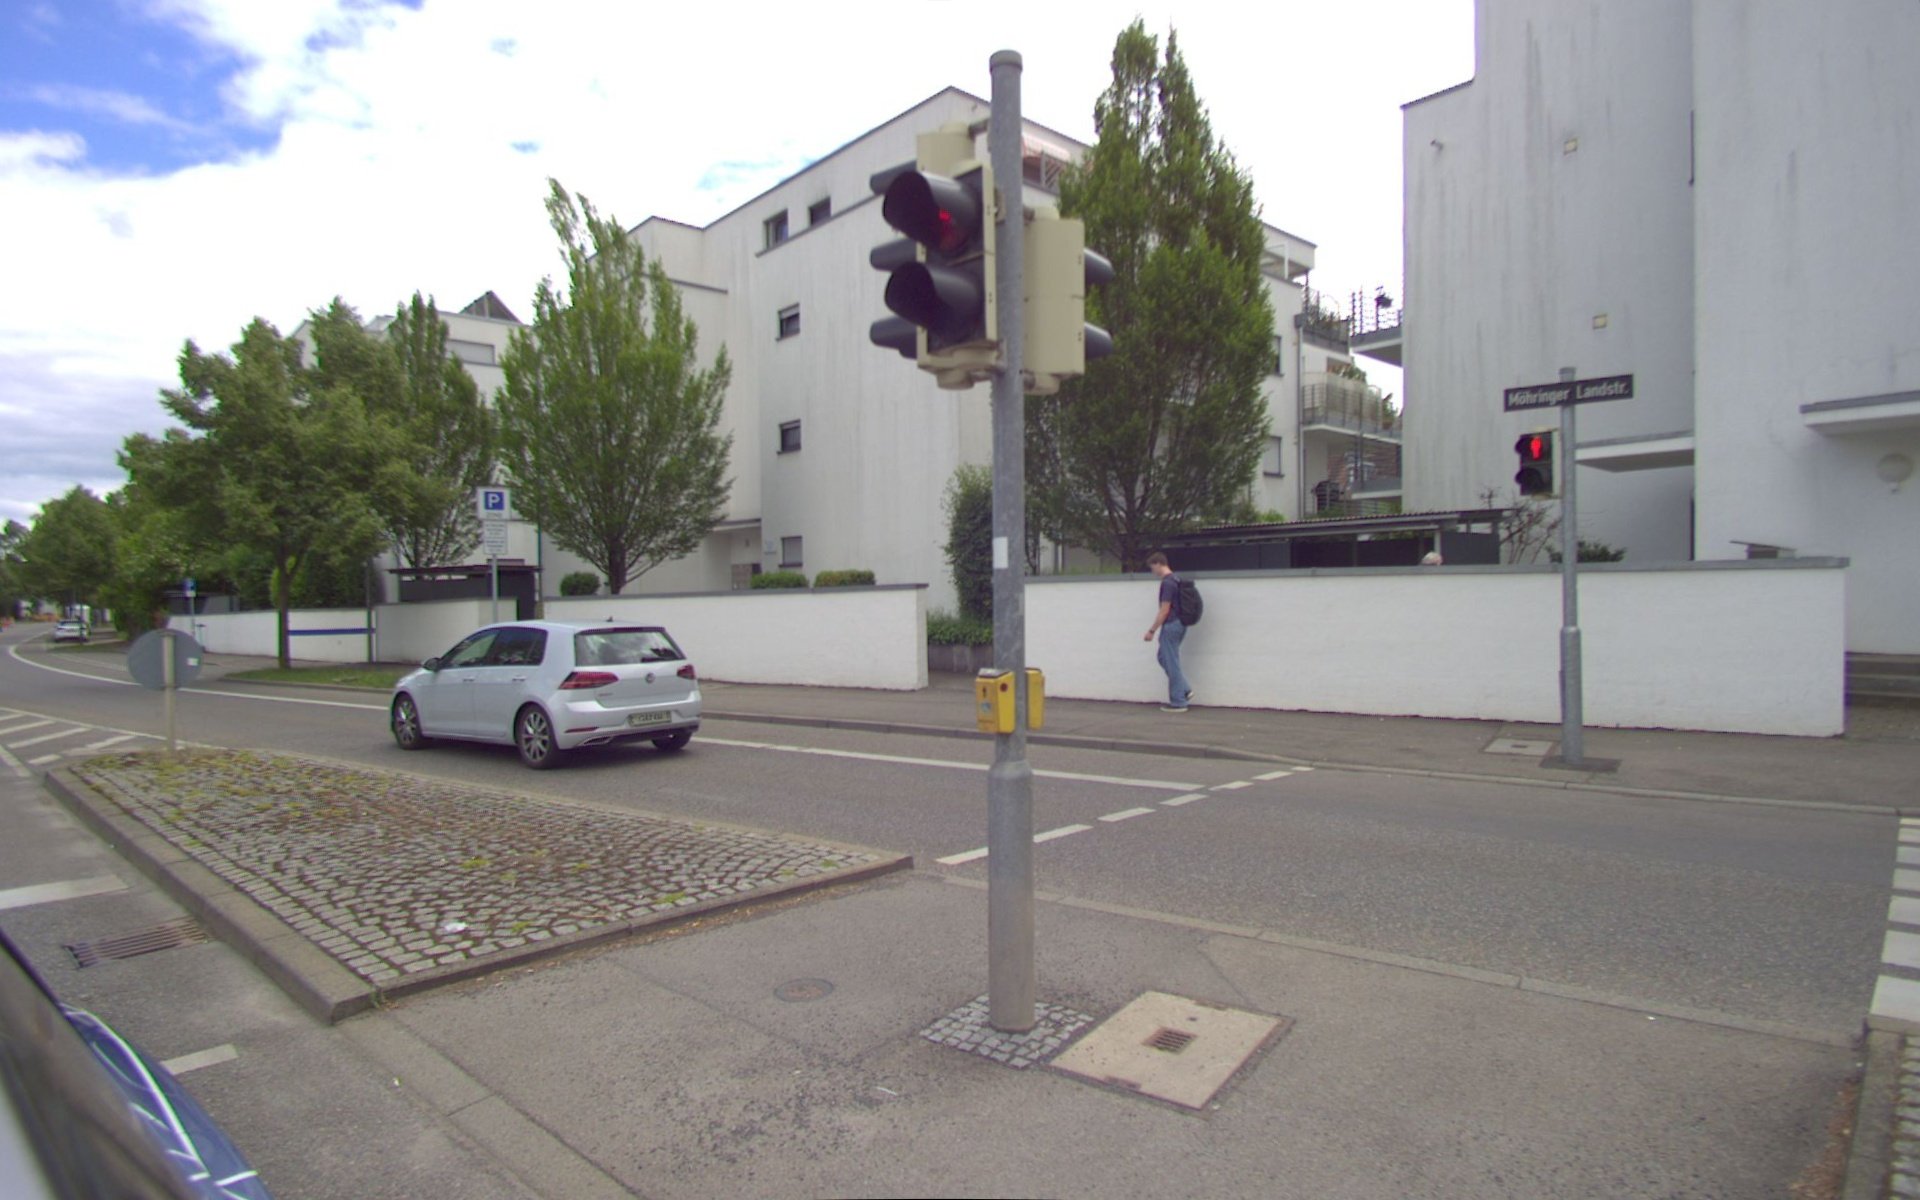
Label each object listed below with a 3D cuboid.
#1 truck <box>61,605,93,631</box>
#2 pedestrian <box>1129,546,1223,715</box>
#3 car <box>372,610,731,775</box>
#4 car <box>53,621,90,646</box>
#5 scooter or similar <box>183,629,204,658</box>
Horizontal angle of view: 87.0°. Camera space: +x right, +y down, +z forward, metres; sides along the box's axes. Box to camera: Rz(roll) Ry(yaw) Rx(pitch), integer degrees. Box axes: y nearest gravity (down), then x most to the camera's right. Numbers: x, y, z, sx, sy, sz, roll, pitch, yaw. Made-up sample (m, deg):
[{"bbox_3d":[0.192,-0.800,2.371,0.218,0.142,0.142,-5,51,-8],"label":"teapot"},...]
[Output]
[{"bbox_3d":[-98.201,1.999,112.569,2.603,2.794,6.265,-1,0,-42],"label":"truck"},{"bbox_3d":[2.623,0.349,12.272,0.870,1.962,0.642,-1,3,37],"label":"pedestrian"},{"bbox_3d":[-4.494,0.857,10.945,3.940,1.455,1.783,-1,0,36],"label":"car"},{"bbox_3d":[-63.230,2.340,72.084,1.888,1.665,4.006,0,-1,-40],"label":"car"},{"bbox_3d":[-32.196,1.816,42.486,1.327,1.174,0.428,-1,2,44],"label":"scooter or similar"}]
